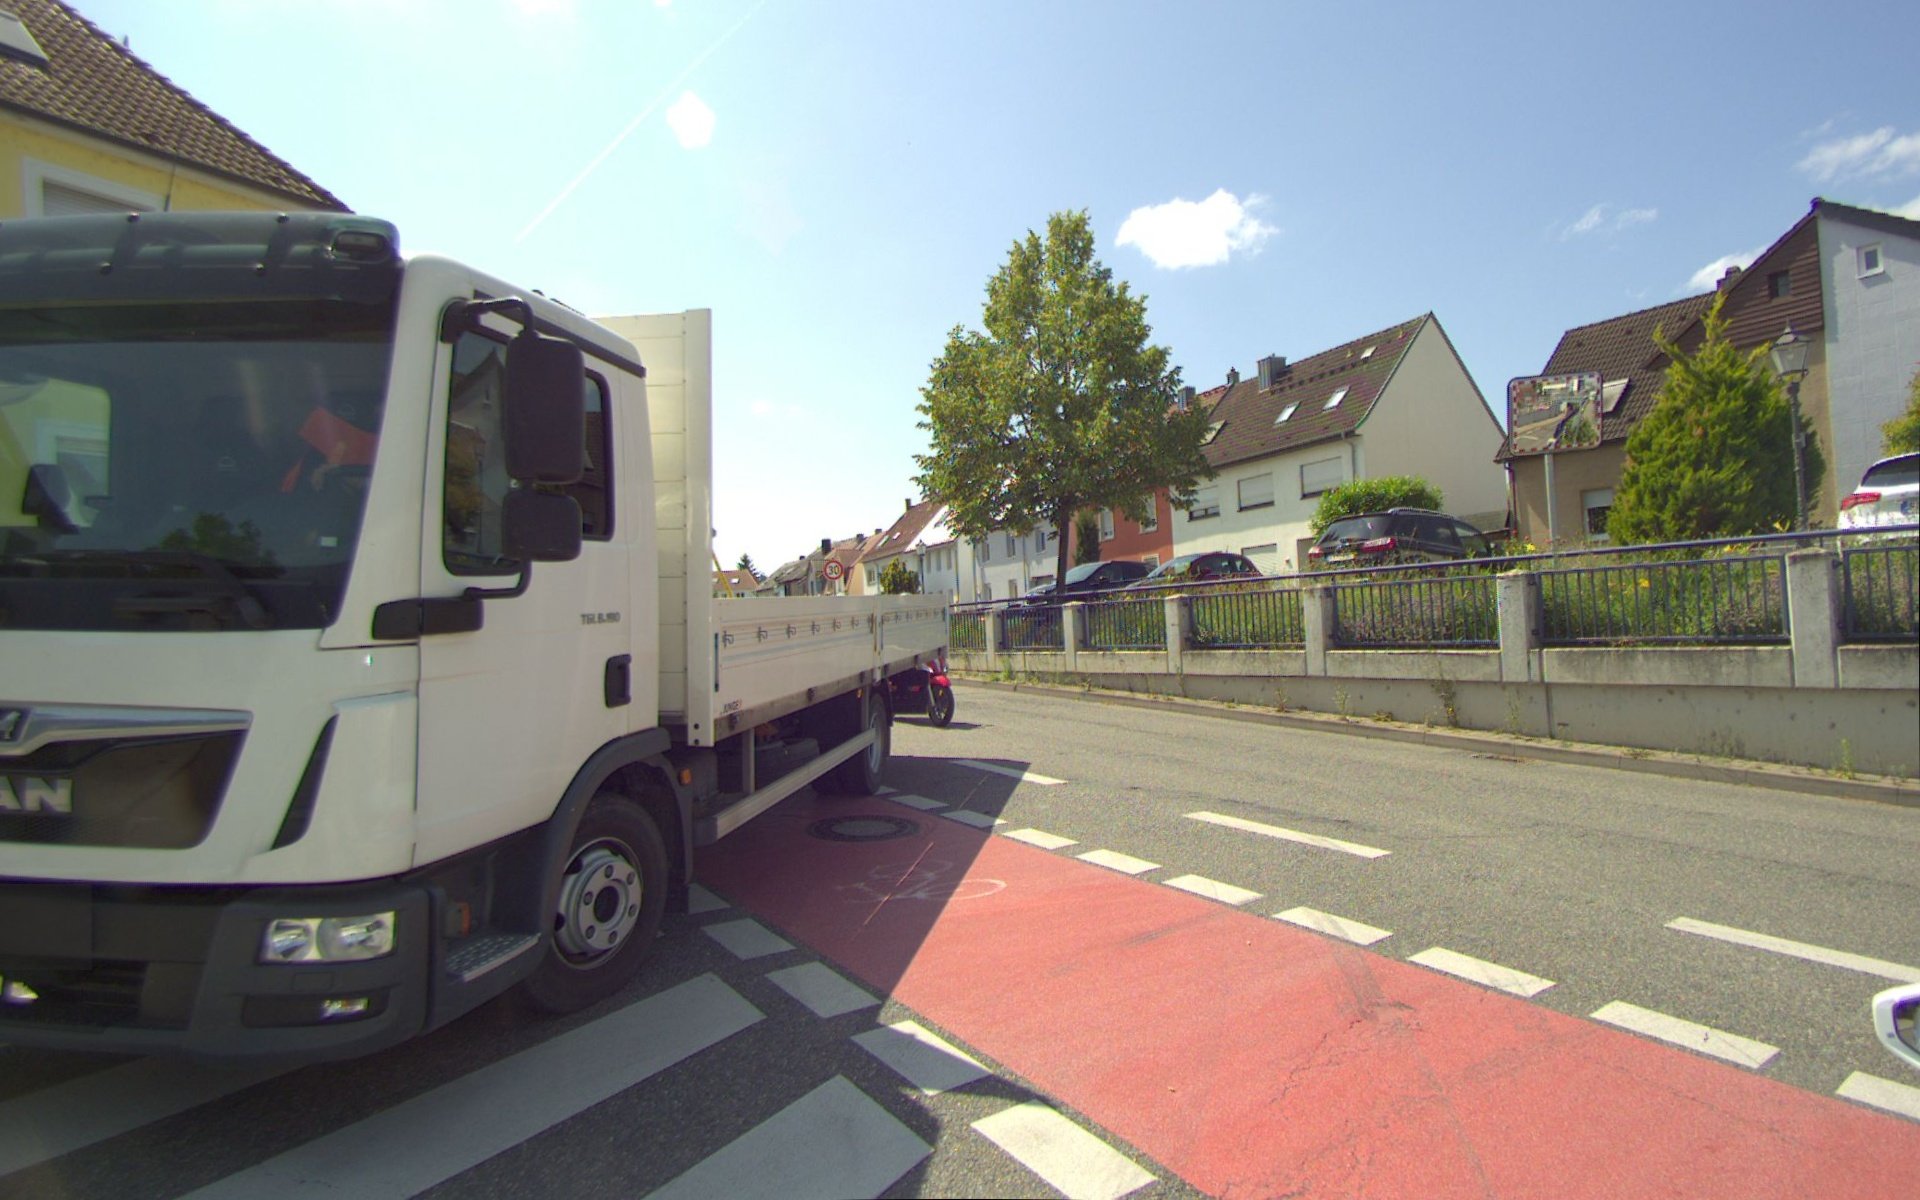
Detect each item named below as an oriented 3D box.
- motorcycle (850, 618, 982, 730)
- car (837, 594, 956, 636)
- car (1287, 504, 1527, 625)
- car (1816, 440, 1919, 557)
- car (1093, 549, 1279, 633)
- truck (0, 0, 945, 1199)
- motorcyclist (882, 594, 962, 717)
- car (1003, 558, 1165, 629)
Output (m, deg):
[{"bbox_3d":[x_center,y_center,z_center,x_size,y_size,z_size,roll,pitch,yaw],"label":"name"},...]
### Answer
[{"bbox_3d":[-0.618,0.909,13.097,0.721,1.309,2.124,1,0,-34],"label":"motorcycle"},{"bbox_3d":[-2.409,0.569,38.343,4.201,1.508,1.736,0,1,-27],"label":"car"},{"bbox_3d":[7.611,-0.542,17.023,3.957,1.821,1.856,0,1,-33],"label":"car"},{"bbox_3d":[10.921,-1.047,10.739,3.422,1.033,1.814,0,1,-33],"label":"car"},{"bbox_3d":[4.752,-0.176,21.086,3.571,1.608,1.856,0,1,-33],"label":"car"},{"bbox_3d":[-1.953,0.004,6.467,2.565,2.915,8.077,0,0,8],"label":"truck"},{"bbox_3d":[-0.493,0.693,12.930,0.721,1.521,0.763,1,0,-34],"label":"motorcyclist"},{"bbox_3d":[3.036,-0.159,24.483,3.571,1.608,1.856,0,1,-33],"label":"car"}]
